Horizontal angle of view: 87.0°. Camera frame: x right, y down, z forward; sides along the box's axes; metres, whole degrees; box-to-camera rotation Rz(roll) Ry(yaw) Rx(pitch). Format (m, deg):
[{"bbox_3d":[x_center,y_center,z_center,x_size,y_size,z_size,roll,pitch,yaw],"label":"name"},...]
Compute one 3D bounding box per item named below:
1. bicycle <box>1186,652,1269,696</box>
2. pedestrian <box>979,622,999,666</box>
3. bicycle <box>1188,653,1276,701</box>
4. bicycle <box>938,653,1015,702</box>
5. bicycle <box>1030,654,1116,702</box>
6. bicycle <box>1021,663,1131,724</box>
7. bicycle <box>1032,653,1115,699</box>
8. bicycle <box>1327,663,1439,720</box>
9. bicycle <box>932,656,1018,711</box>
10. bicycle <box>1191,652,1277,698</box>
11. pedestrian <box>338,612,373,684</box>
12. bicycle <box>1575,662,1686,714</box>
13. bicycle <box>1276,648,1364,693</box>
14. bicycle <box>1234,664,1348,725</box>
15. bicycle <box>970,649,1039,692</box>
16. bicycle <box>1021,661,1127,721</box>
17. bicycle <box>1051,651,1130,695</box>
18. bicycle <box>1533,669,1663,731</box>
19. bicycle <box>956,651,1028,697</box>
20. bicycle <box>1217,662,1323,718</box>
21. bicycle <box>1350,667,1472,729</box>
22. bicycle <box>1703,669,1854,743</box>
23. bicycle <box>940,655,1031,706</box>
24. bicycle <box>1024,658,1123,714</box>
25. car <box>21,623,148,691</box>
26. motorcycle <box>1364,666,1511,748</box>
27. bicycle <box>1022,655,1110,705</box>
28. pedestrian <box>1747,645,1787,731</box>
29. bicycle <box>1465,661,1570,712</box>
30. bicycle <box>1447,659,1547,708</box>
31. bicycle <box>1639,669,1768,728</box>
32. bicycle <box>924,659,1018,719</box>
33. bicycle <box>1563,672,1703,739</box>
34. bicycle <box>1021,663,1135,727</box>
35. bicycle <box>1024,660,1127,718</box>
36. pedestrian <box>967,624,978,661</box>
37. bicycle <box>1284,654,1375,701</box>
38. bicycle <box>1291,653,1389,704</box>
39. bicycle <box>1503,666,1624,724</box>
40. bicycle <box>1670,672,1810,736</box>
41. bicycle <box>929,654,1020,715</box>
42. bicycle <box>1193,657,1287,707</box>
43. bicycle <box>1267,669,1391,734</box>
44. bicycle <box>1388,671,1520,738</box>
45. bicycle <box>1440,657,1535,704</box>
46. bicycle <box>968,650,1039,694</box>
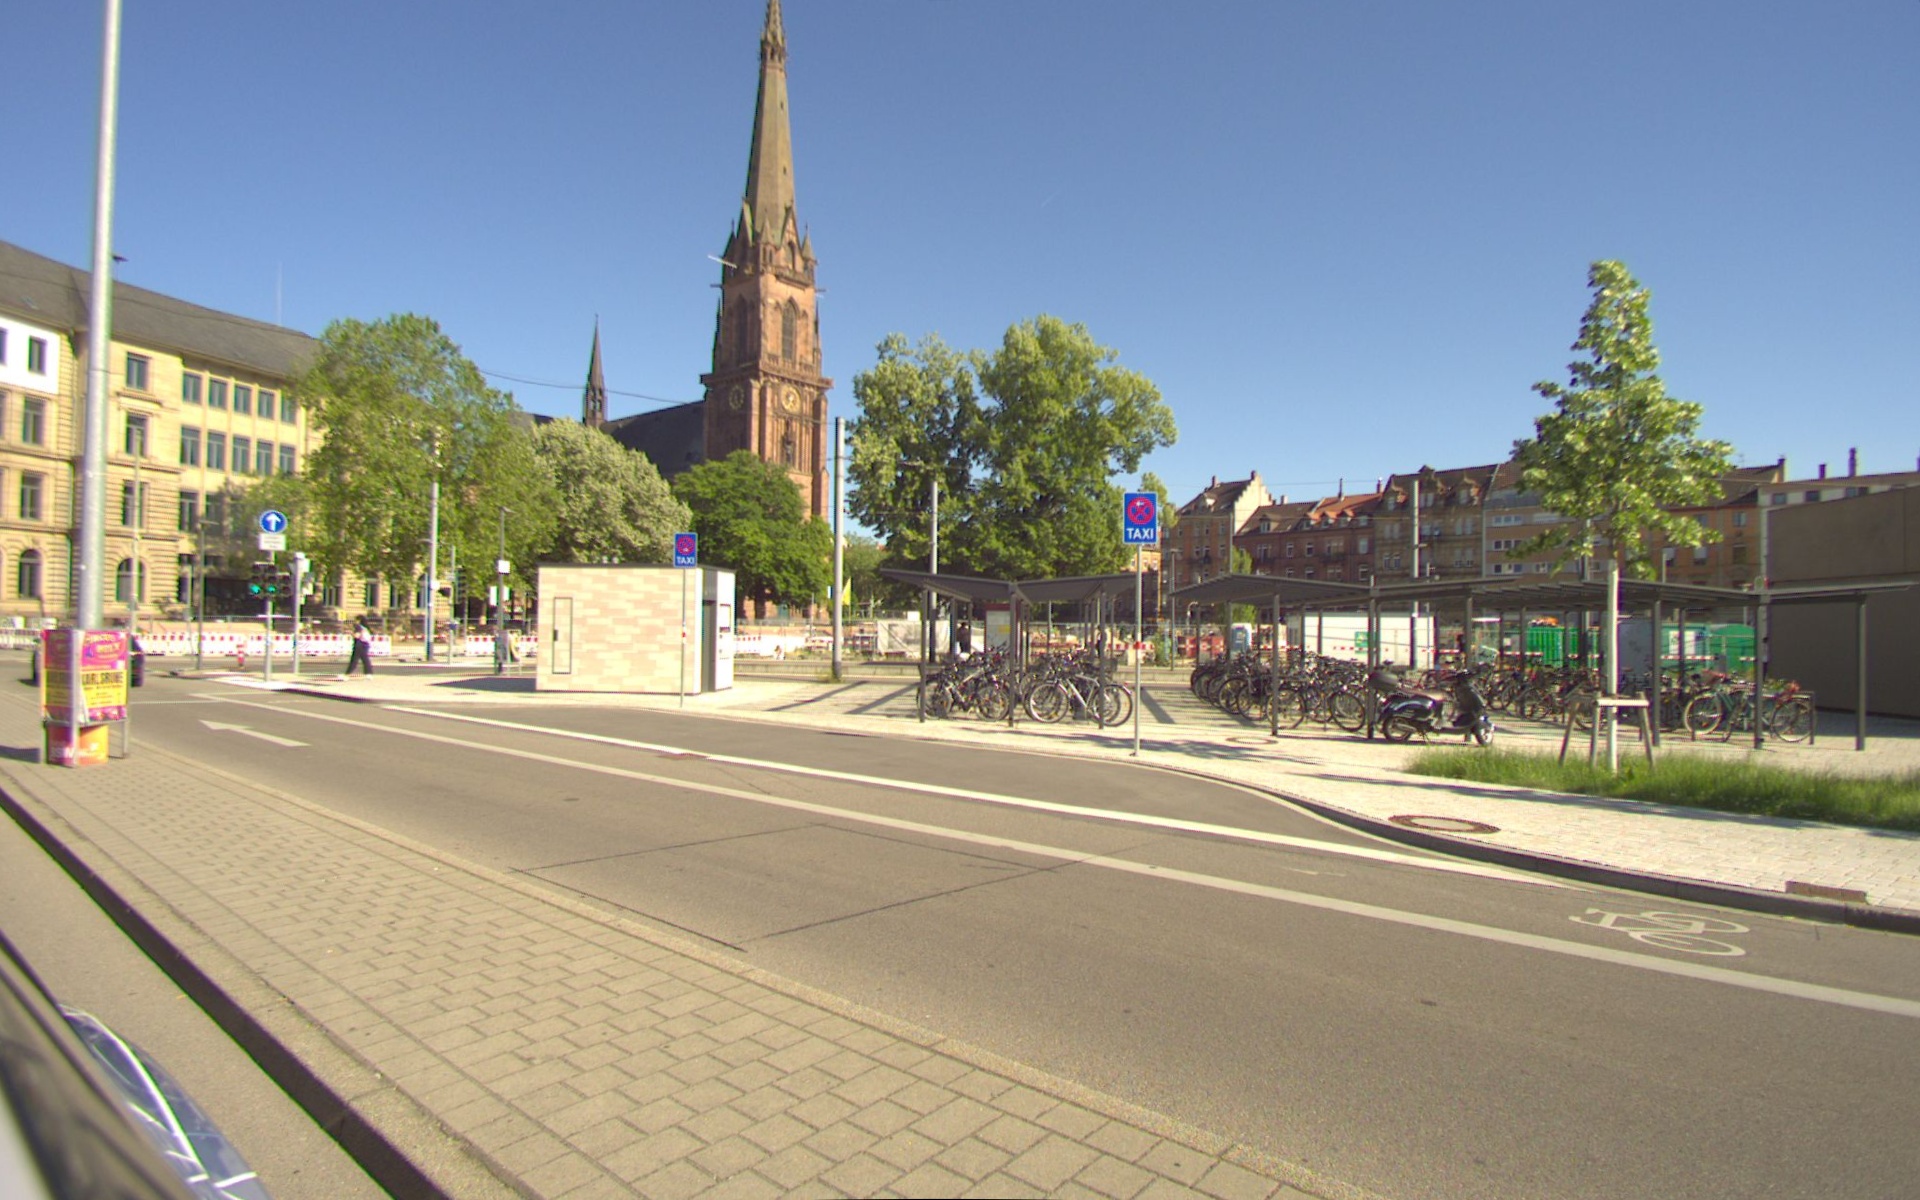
[{"bbox_3d":[6.394,1.760,24.229,1.882,1.016,0.456,0,-2,8],"label":"bicycle"},{"bbox_3d":[1.195,1.805,41.657,0.792,1.793,0.977,0,-2,3],"label":"pedestrian"},{"bbox_3d":[6.149,1.736,22.947,1.882,1.016,0.456,0,-2,8],"label":"bicycle"},{"bbox_3d":[0.372,1.689,22.228,1.652,1.016,0.456,0,-2,8],"label":"bicycle"},{"bbox_3d":[2.511,1.725,22.538,1.882,1.016,0.456,0,-2,8],"label":"bicycle"},{"bbox_3d":[2.020,1.622,17.677,1.882,1.016,0.456,0,-2,8],"label":"bicycle"},{"bbox_3d":[2.606,1.746,23.307,1.882,1.016,0.456,0,-2,8],"label":"bicycle"},{"bbox_3d":[7.918,1.710,19.000,1.882,1.016,0.456,0,-2,8],"label":"bicycle"},{"bbox_3d":[0.305,1.628,19.891,1.652,1.016,0.456,0,-2,8],"label":"bicycle"},{"bbox_3d":[6.366,1.730,23.571,1.882,1.016,0.456,0,-2,8],"label":"bicycle"},{"bbox_3d":[-15.988,1.268,26.779,0.683,1.868,0.680,2,-2,-38],"label":"pedestrian"},{"bbox_3d":[13.874,1.816,20.975,1.882,1.016,0.456,0,-2,8],"label":"bicycle"},{"bbox_3d":[8.487,1.650,23.914,1.882,1.016,0.456,0,-2,8],"label":"bicycle"},{"bbox_3d":[5.900,1.681,18.096,1.882,1.016,0.456,0,-2,8],"label":"bicycle"},{"bbox_3d":[1.107,1.727,24.946,1.652,1.016,0.456,0,-2,8],"label":"bicycle"},{"bbox_3d":[2.055,1.631,18.265,1.882,1.016,0.456,0,-2,8],"label":"bicycle"},{"bbox_3d":[3.162,1.775,24.603,1.882,1.016,0.456,0,-2,8],"label":"bicycle"},{"bbox_3d":[11.101,1.730,17.645,1.882,1.016,0.456,0,-2,8],"label":"bicycle"},{"bbox_3d":[0.746,1.708,23.485,1.652,1.016,0.456,0,-2,8],"label":"bicycle"},{"bbox_3d":[5.898,1.706,19.327,1.882,1.016,0.456,0,-2,8],"label":"bicycle"},{"bbox_3d":[7.895,1.707,17.767,1.882,1.016,0.456,0,-2,8],"label":"bicycle"},{"bbox_3d":[13.082,1.683,16.210,1.882,1.106,0.456,0,-2,8],"label":"bicycle"},{"bbox_3d":[0.544,1.673,21.230,1.882,1.016,0.456,0,-2,8],"label":"bicycle"},{"bbox_3d":[2.197,1.657,19.588,1.882,1.016,0.456,0,-2,8],"label":"bicycle"},{"bbox_3d":[-21.451,1.343,24.728,4.575,1.511,1.769,-1,-4,42],"label":"car"},{"bbox_3d":[7.162,1.601,15.229,1.924,1.160,0.516,0,-2,6],"label":"motorcycle"},{"bbox_3d":[2.297,1.720,21.924,1.882,1.016,0.456,0,-2,8],"label":"bicycle"},{"bbox_3d":[19.799,2.139,24.828,0.718,2.029,0.678,-1,-3,41],"label":"pedestrian"},{"bbox_3d":[11.714,1.812,21.317,1.882,1.016,0.456,0,-2,8],"label":"bicycle"},{"bbox_3d":[11.784,1.823,22.247,1.882,1.016,0.456,0,-2,8],"label":"bicycle"},{"bbox_3d":[13.469,1.775,18.368,1.882,1.016,0.456,0,-2,8],"label":"bicycle"},{"bbox_3d":[0.202,1.584,18.195,1.652,1.016,0.456,0,-2,8],"label":"bicycle"},{"bbox_3d":[10.973,1.716,16.540,1.882,1.016,0.456,0,-2,8],"label":"bicycle"},{"bbox_3d":[1.990,1.600,17.118,1.882,1.016,0.456,0,-2,8],"label":"bicycle"},{"bbox_3d":[2.137,1.644,18.747,1.882,1.016,0.456,0,-2,8],"label":"bicycle"},{"bbox_3d":[0.586,1.992,47.620,0.399,1.734,0.419,1,-2,-11],"label":"pedestrian"},{"bbox_3d":[8.316,1.733,22.822,1.882,1.016,0.456,0,-2,8],"label":"bicycle"},{"bbox_3d":[8.057,1.659,21.523,1.882,1.016,0.456,0,-2,8],"label":"bicycle"},{"bbox_3d":[11.164,1.754,18.761,1.882,1.016,0.456,0,-2,8],"label":"bicycle"},{"bbox_3d":[13.129,1.741,17.069,1.882,1.016,0.456,0,-2,8],"label":"bicycle"},{"bbox_3d":[0.280,1.557,18.780,1.652,1.069,0.456,0,-2,8],"label":"bicycle"},{"bbox_3d":[5.966,1.745,21.613,1.882,1.016,0.456,0,-2,8],"label":"bicycle"},{"bbox_3d":[6.122,1.680,16.843,1.882,1.016,0.456,0,-2,8],"label":"bicycle"},{"bbox_3d":[8.029,1.690,16.497,1.882,1.016,0.456,0,-2,8],"label":"bicycle"},{"bbox_3d":[12.079,1.834,23.198,1.882,1.016,0.456,0,-2,8],"label":"bicycle"},{"bbox_3d":[1.042,1.713,24.230,1.652,1.016,0.456,0,-2,8],"label":"bicycle"}]
